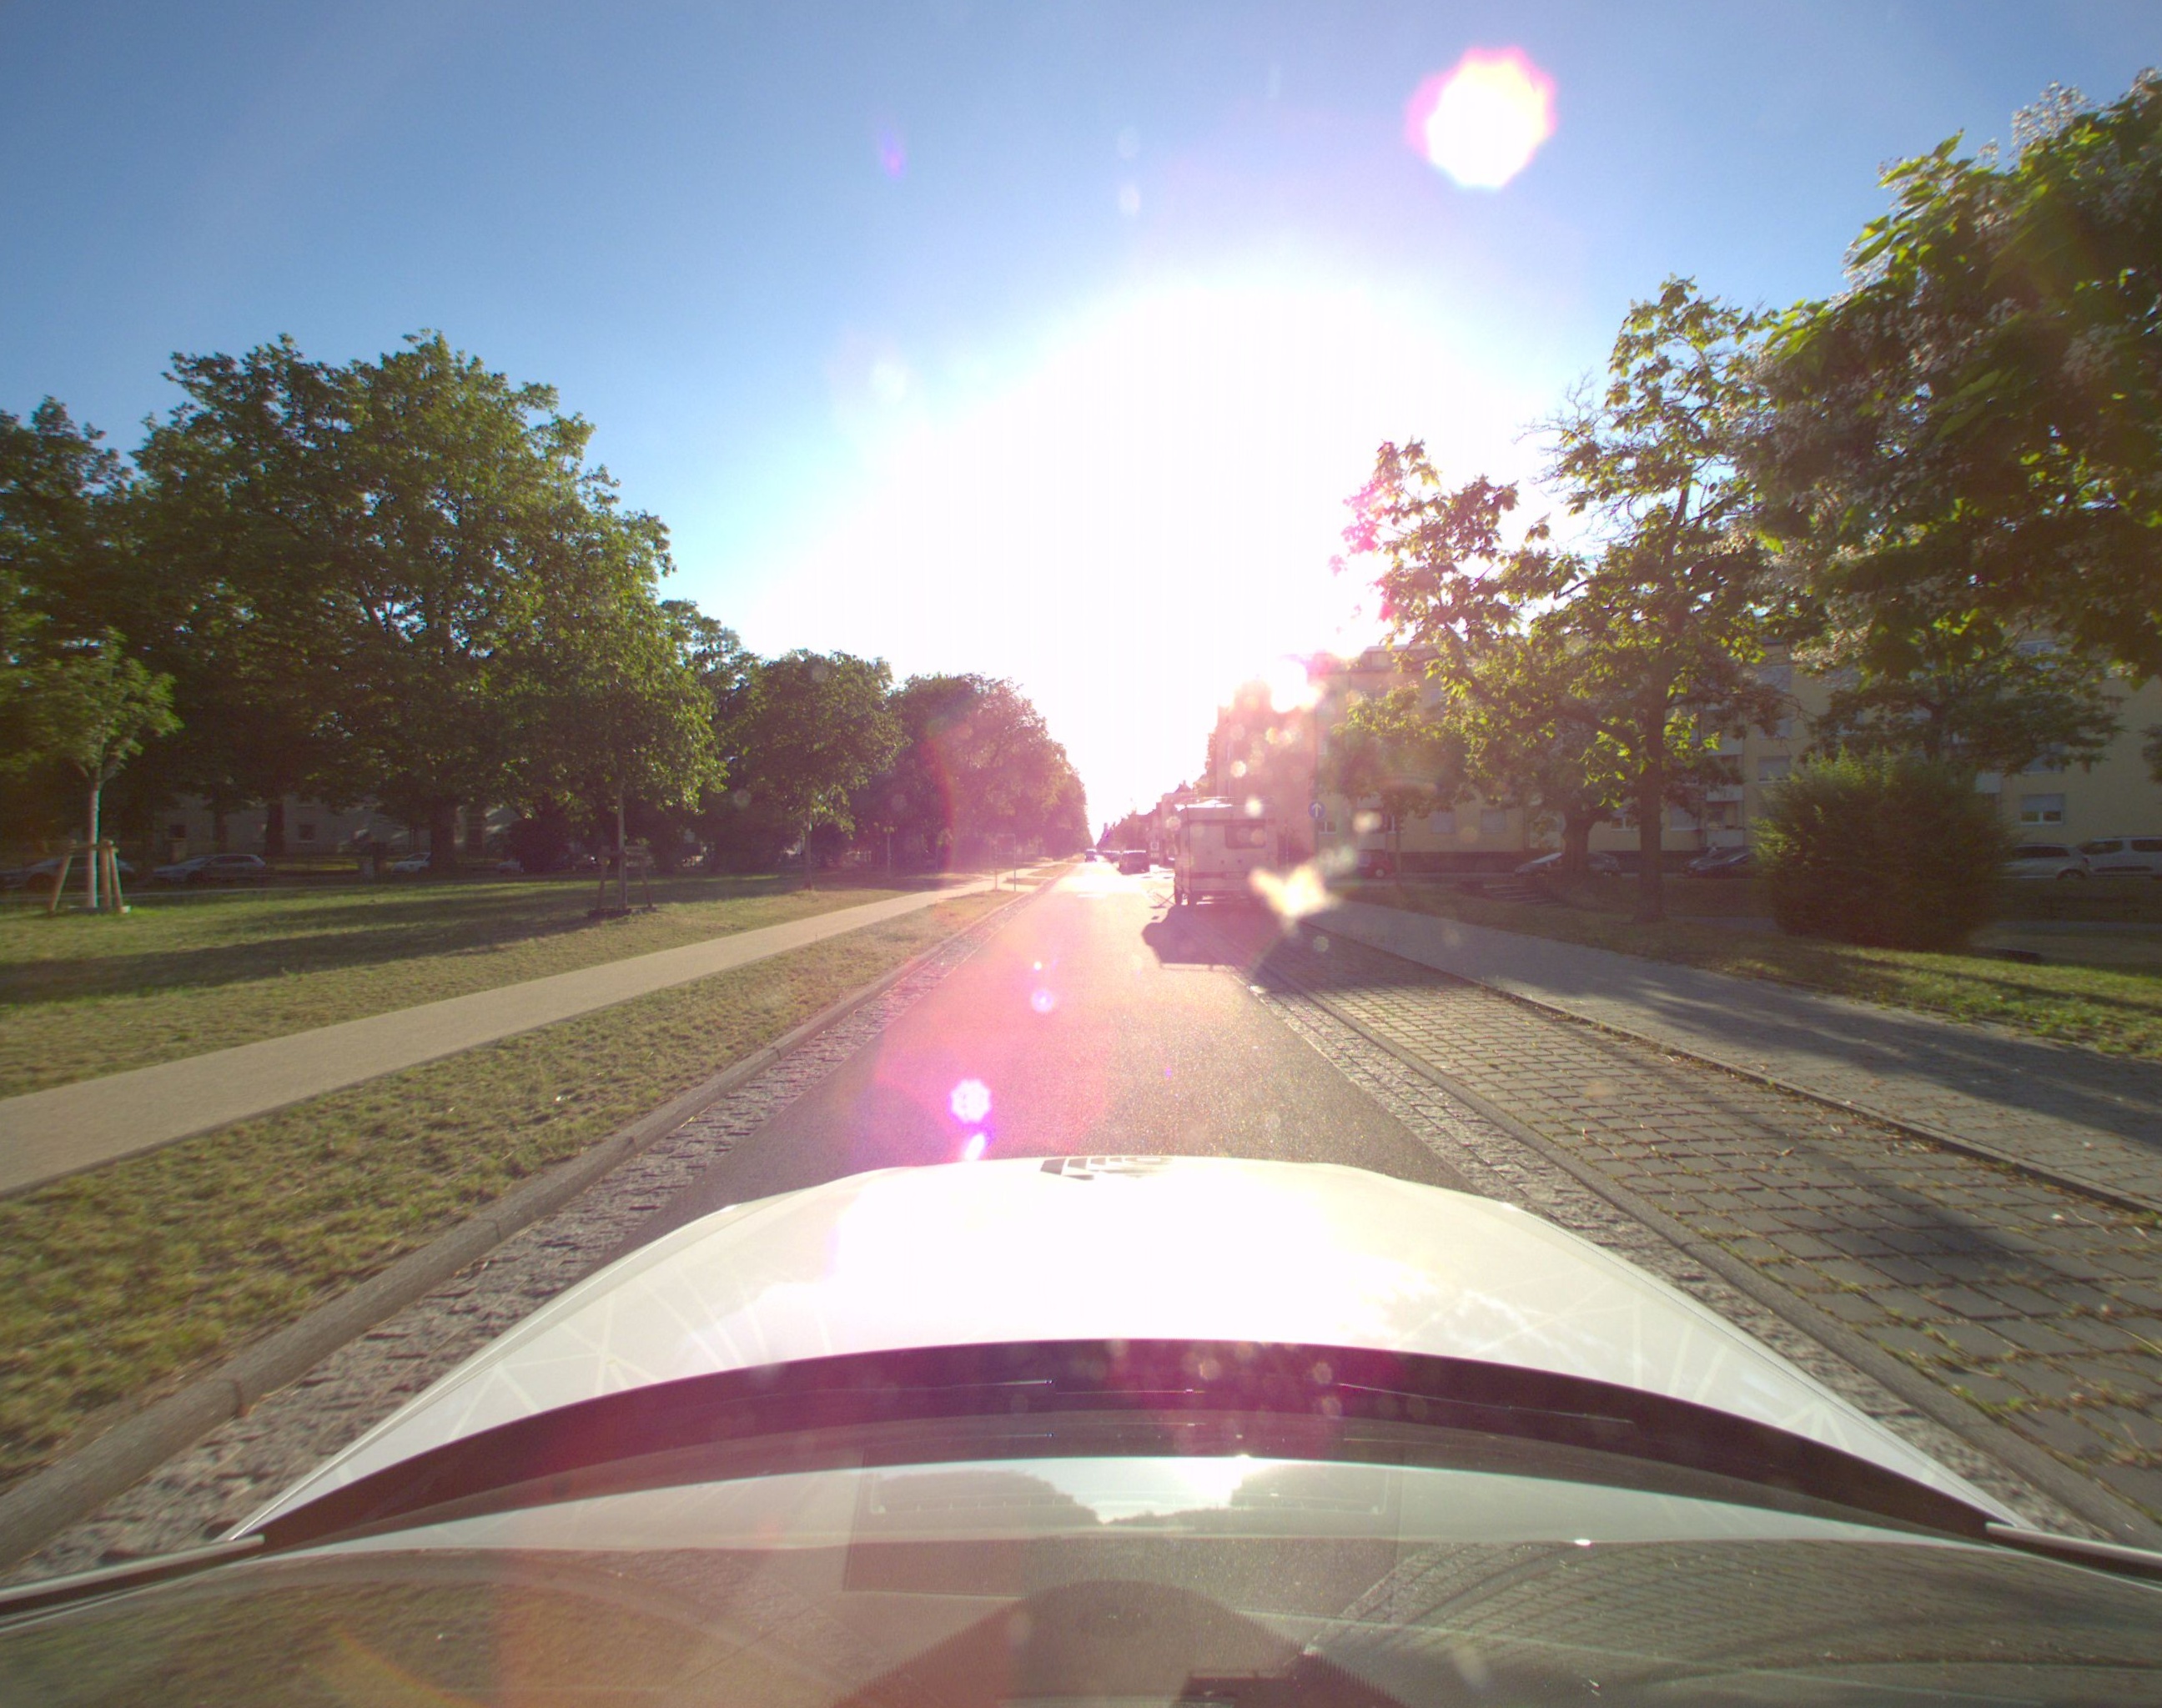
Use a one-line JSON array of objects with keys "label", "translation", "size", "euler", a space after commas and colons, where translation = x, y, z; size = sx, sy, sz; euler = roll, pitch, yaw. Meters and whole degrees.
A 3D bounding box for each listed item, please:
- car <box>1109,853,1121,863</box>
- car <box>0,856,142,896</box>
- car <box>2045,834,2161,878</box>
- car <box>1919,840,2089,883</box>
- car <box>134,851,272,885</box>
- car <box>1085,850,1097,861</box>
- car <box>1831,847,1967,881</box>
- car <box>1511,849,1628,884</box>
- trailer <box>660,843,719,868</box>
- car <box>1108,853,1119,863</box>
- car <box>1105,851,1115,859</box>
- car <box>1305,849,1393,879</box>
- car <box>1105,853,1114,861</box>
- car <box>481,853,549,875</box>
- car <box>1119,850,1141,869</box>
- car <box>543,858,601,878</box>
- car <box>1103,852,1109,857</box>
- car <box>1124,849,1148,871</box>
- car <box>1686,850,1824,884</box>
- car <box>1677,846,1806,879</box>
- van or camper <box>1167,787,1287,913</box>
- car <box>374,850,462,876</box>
[{"label": "car", "translation": [4.869, 0.574, 117.038], "size": [1.621, 1.410, 4.249], "euler": [-1, 0, 1]}, {"label": "car", "translation": [-41.423, 0.855, 33.020], "size": [1.986, 1.508, 4.002], "euler": [-1, 0, 2]}, {"label": "car", "translation": [43.176, 0.085, 33.335], "size": [4.467, 1.746, 1.892], "euler": [-1, 0, 36]}, {"label": "car", "translation": [35.045, 0.279, 31.076], "size": [3.949, 1.552, 1.620], "euler": [-1, 0, 28]}, {"label": "car", "translation": [-41.252, 0.632, 38.413], "size": [1.986, 1.508, 4.117], "euler": [-1, 0, 2]}, {"label": "car", "translation": [1.545, 0.188, 124.840], "size": [1.819, 1.669, 4.249], "euler": [-1, 0, 1]}, {"label": "car", "translation": [36.908, 0.451, 36.891], "size": [3.949, 1.453, 1.892], "euler": [-1, 0, 29]}, {"label": "car", "translation": [21.698, 0.555, 36.341], "size": [4.163, 1.463, 1.700], "euler": [-1, 0, 16]}, {"label": "trailer", "translation": [-40.178, 0.168, 83.909], "size": [2.450, 2.489, 7.053], "euler": [-1, 0, 2]}, {"label": "car", "translation": [5.087, 0.617, 128.515], "size": [1.621, 1.410, 4.249], "euler": [-1, 0, 1]}, {"label": "car", "translation": [5.307, 0.221, 148.666], "size": [1.621, 1.410, 4.249], "euler": [-1, 0, 1]}, {"label": "car", "translation": [14.366, 0.510, 43.867], "size": [4.175, 1.530, 2.003], "euler": [-1, 0, 5]}, {"label": "car", "translation": [5.699, 0.622, 164.262], "size": [1.621, 1.410, 4.249], "euler": [-1, 0, 1]}, {"label": "car", "translation": [-40.986, 0.703, 59.114], "size": [1.986, 1.508, 4.117], "euler": [-1, 0, 2]}, {"label": "car", "translation": [4.494, 0.485, 74.298], "size": [1.985, 1.717, 4.004], "euler": [-1, 0, 4]}, {"label": "car", "translation": [-40.806, 1.107, 65.402], "size": [1.986, 1.508, 4.117], "euler": [-1, 0, 2]}, {"label": "car", "translation": [6.680, 0.168, 217.187], "size": [1.621, 1.410, 4.249], "euler": [-1, 0, 1]}, {"label": "car", "translation": [4.271, 0.454, 63.388], "size": [1.621, 1.669, 4.249], "euler": [-1, 0, 1]}, {"label": "car", "translation": [28.337, 0.561, 34.377], "size": [4.159, 1.357, 1.702], "euler": [-1, 0, 21]}, {"label": "car", "translation": [31.996, 0.418, 39.596], "size": [4.474, 1.569, 1.890], "euler": [-1, 0, 19]}, {"label": "van or camper", "translation": [3.693, -0.036, 21.804], "size": [2.226, 2.904, 5.673], "euler": [-1, -1, 1]}, {"label": "car", "translation": [-40.981, 0.559, 50.494], "size": [1.986, 1.508, 4.117], "euler": [-1, 0, 2]}]
